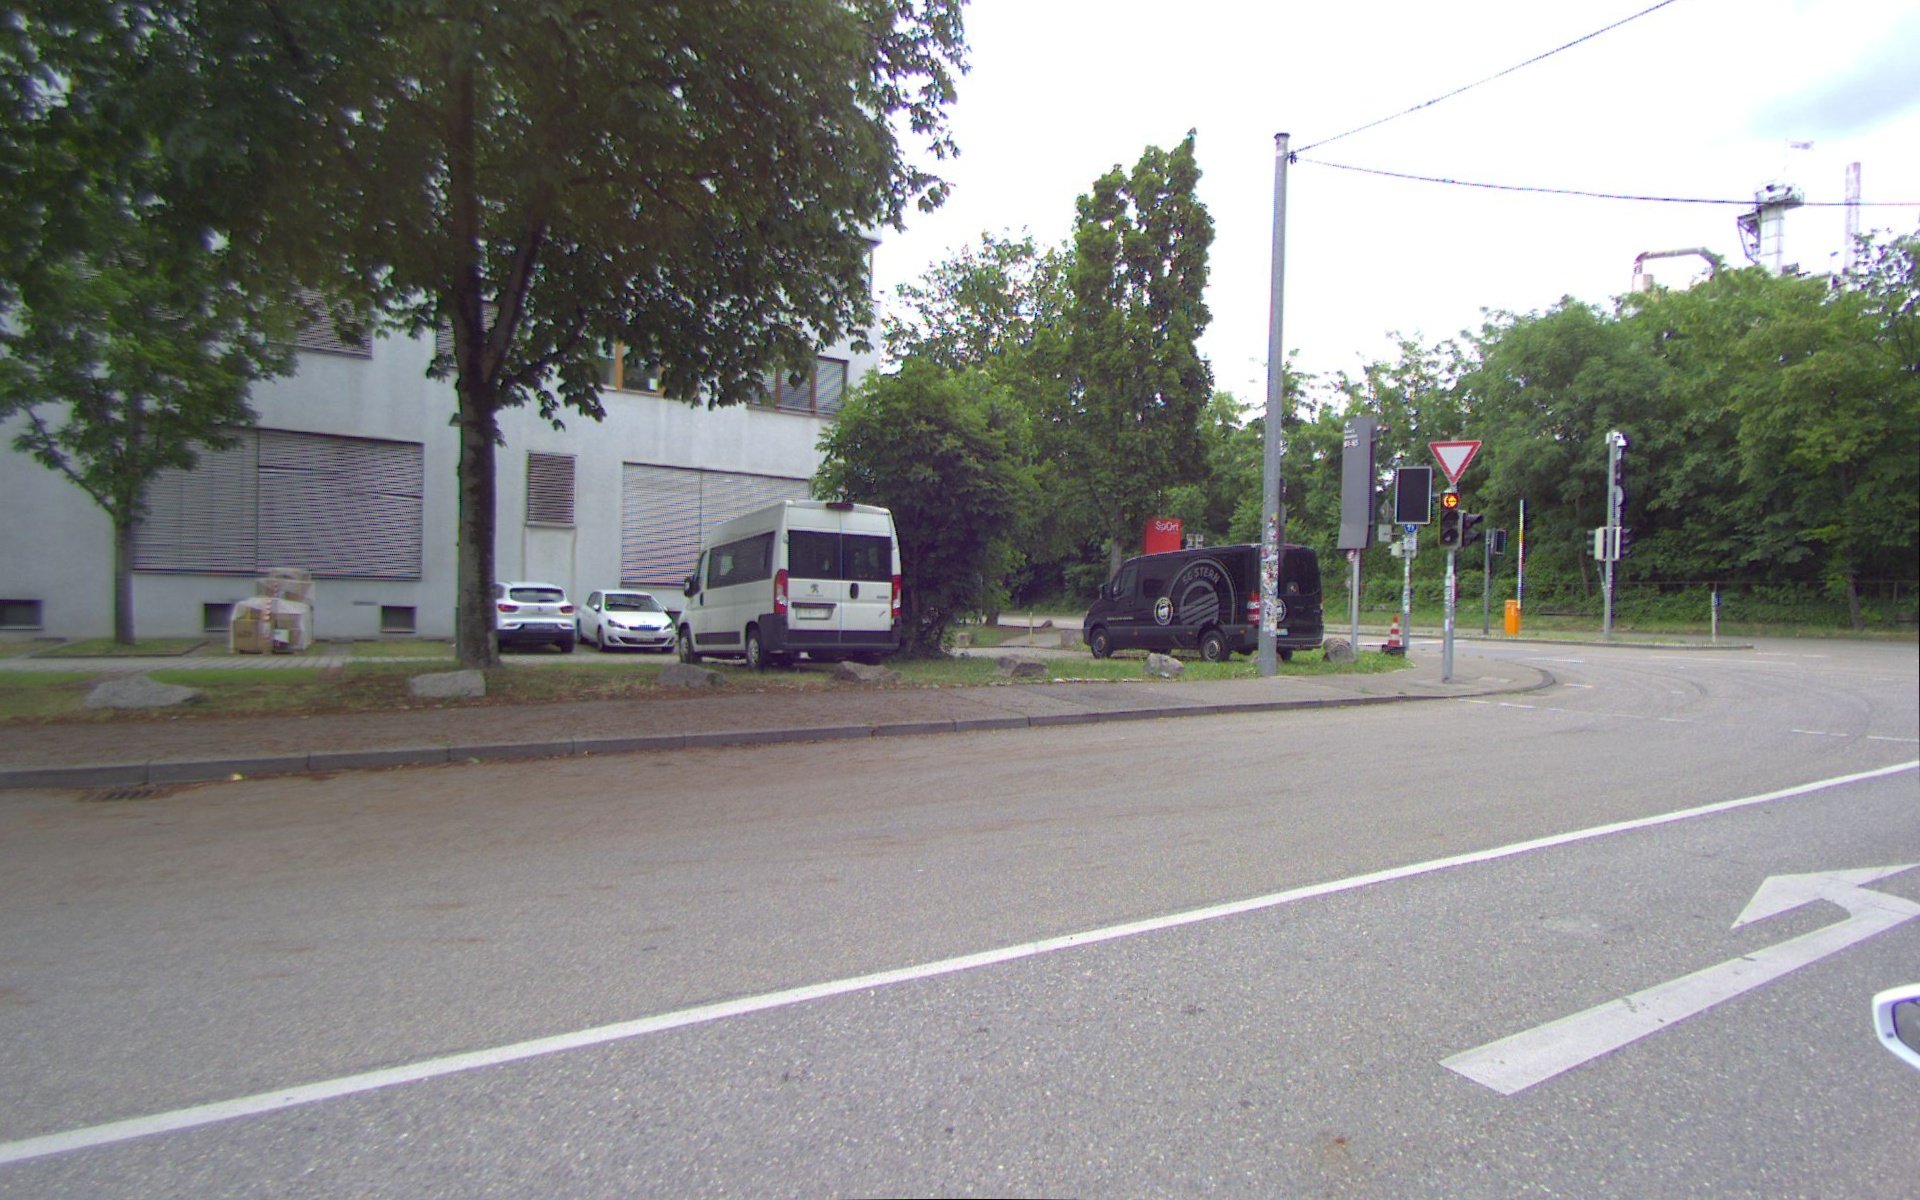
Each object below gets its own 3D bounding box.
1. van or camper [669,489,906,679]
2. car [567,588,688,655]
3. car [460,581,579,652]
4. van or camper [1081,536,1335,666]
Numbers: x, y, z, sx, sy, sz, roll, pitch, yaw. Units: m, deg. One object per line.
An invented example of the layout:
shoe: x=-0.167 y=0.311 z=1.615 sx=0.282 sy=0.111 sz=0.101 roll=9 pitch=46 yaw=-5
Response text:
van or camper: x=-3.007 y=-0.246 z=16.436 sx=2.039 sy=2.604 sz=4.943 roll=3 pitch=0 yaw=-32
car: x=-8.526 y=0.517 z=25.564 sx=1.881 sy=1.475 sz=3.972 roll=3 pitch=0 yaw=-34
car: x=-10.576 y=0.351 z=23.978 sx=1.881 sy=1.475 sz=3.972 roll=3 pitch=0 yaw=-34
van or camper: x=5.008 y=0.120 z=21.258 sx=2.036 sy=2.343 sz=5.513 roll=3 pitch=-3 yaw=-28
